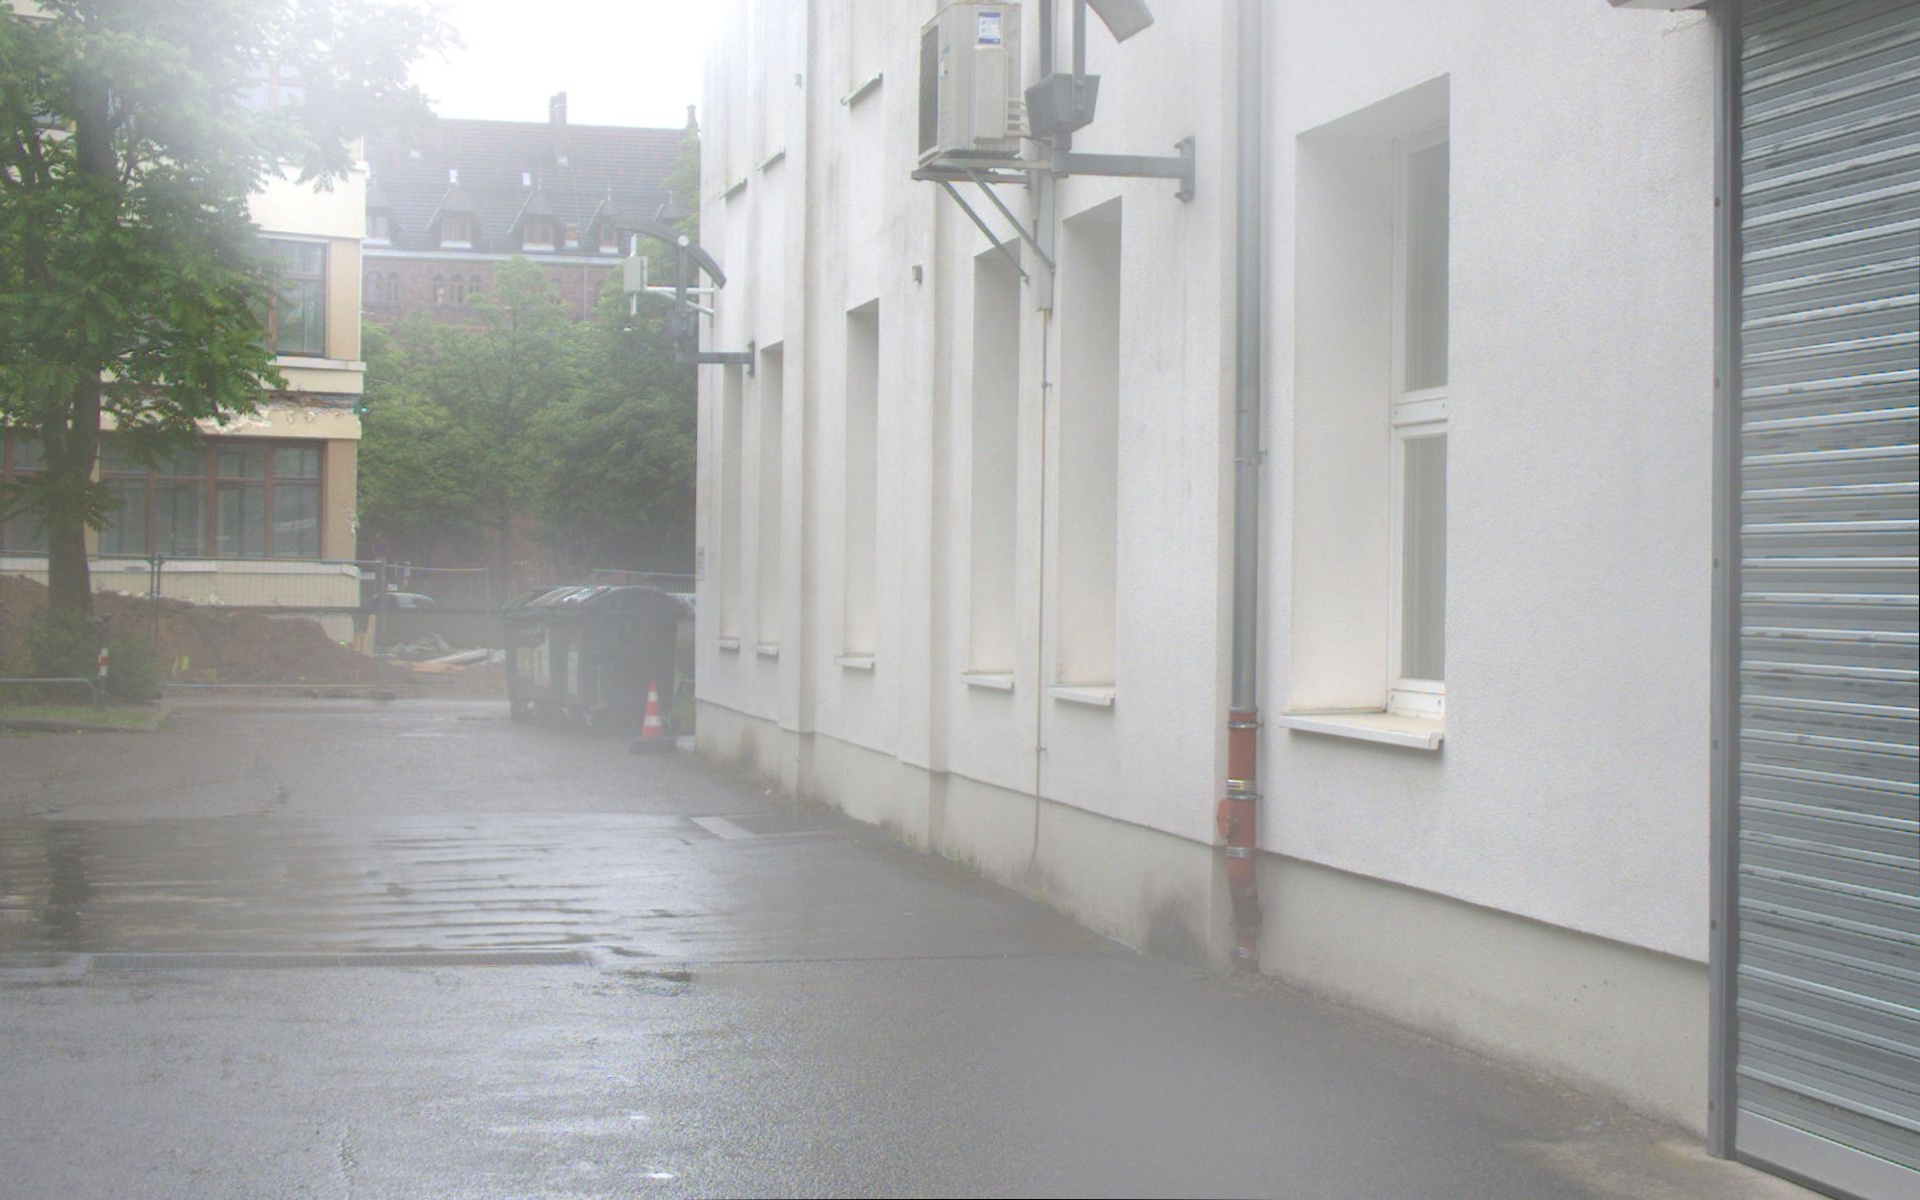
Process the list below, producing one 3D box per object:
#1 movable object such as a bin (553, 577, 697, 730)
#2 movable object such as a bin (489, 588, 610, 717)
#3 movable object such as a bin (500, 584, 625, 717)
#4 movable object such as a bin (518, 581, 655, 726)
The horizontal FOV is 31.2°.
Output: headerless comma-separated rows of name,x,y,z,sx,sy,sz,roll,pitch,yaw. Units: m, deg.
movable object such as a bin,-3.259,0.530,33.311,1.214,1.432,1.236,1,-2,-13
movable object such as a bin,-4.692,0.610,39.225,1.214,1.432,1.259,1,-2,-13
movable object such as a bin,-4.389,0.568,37.879,1.214,1.432,1.259,1,-2,-13
movable object such as a bin,-3.805,0.552,34.926,1.214,1.432,1.294,1,-2,-13
